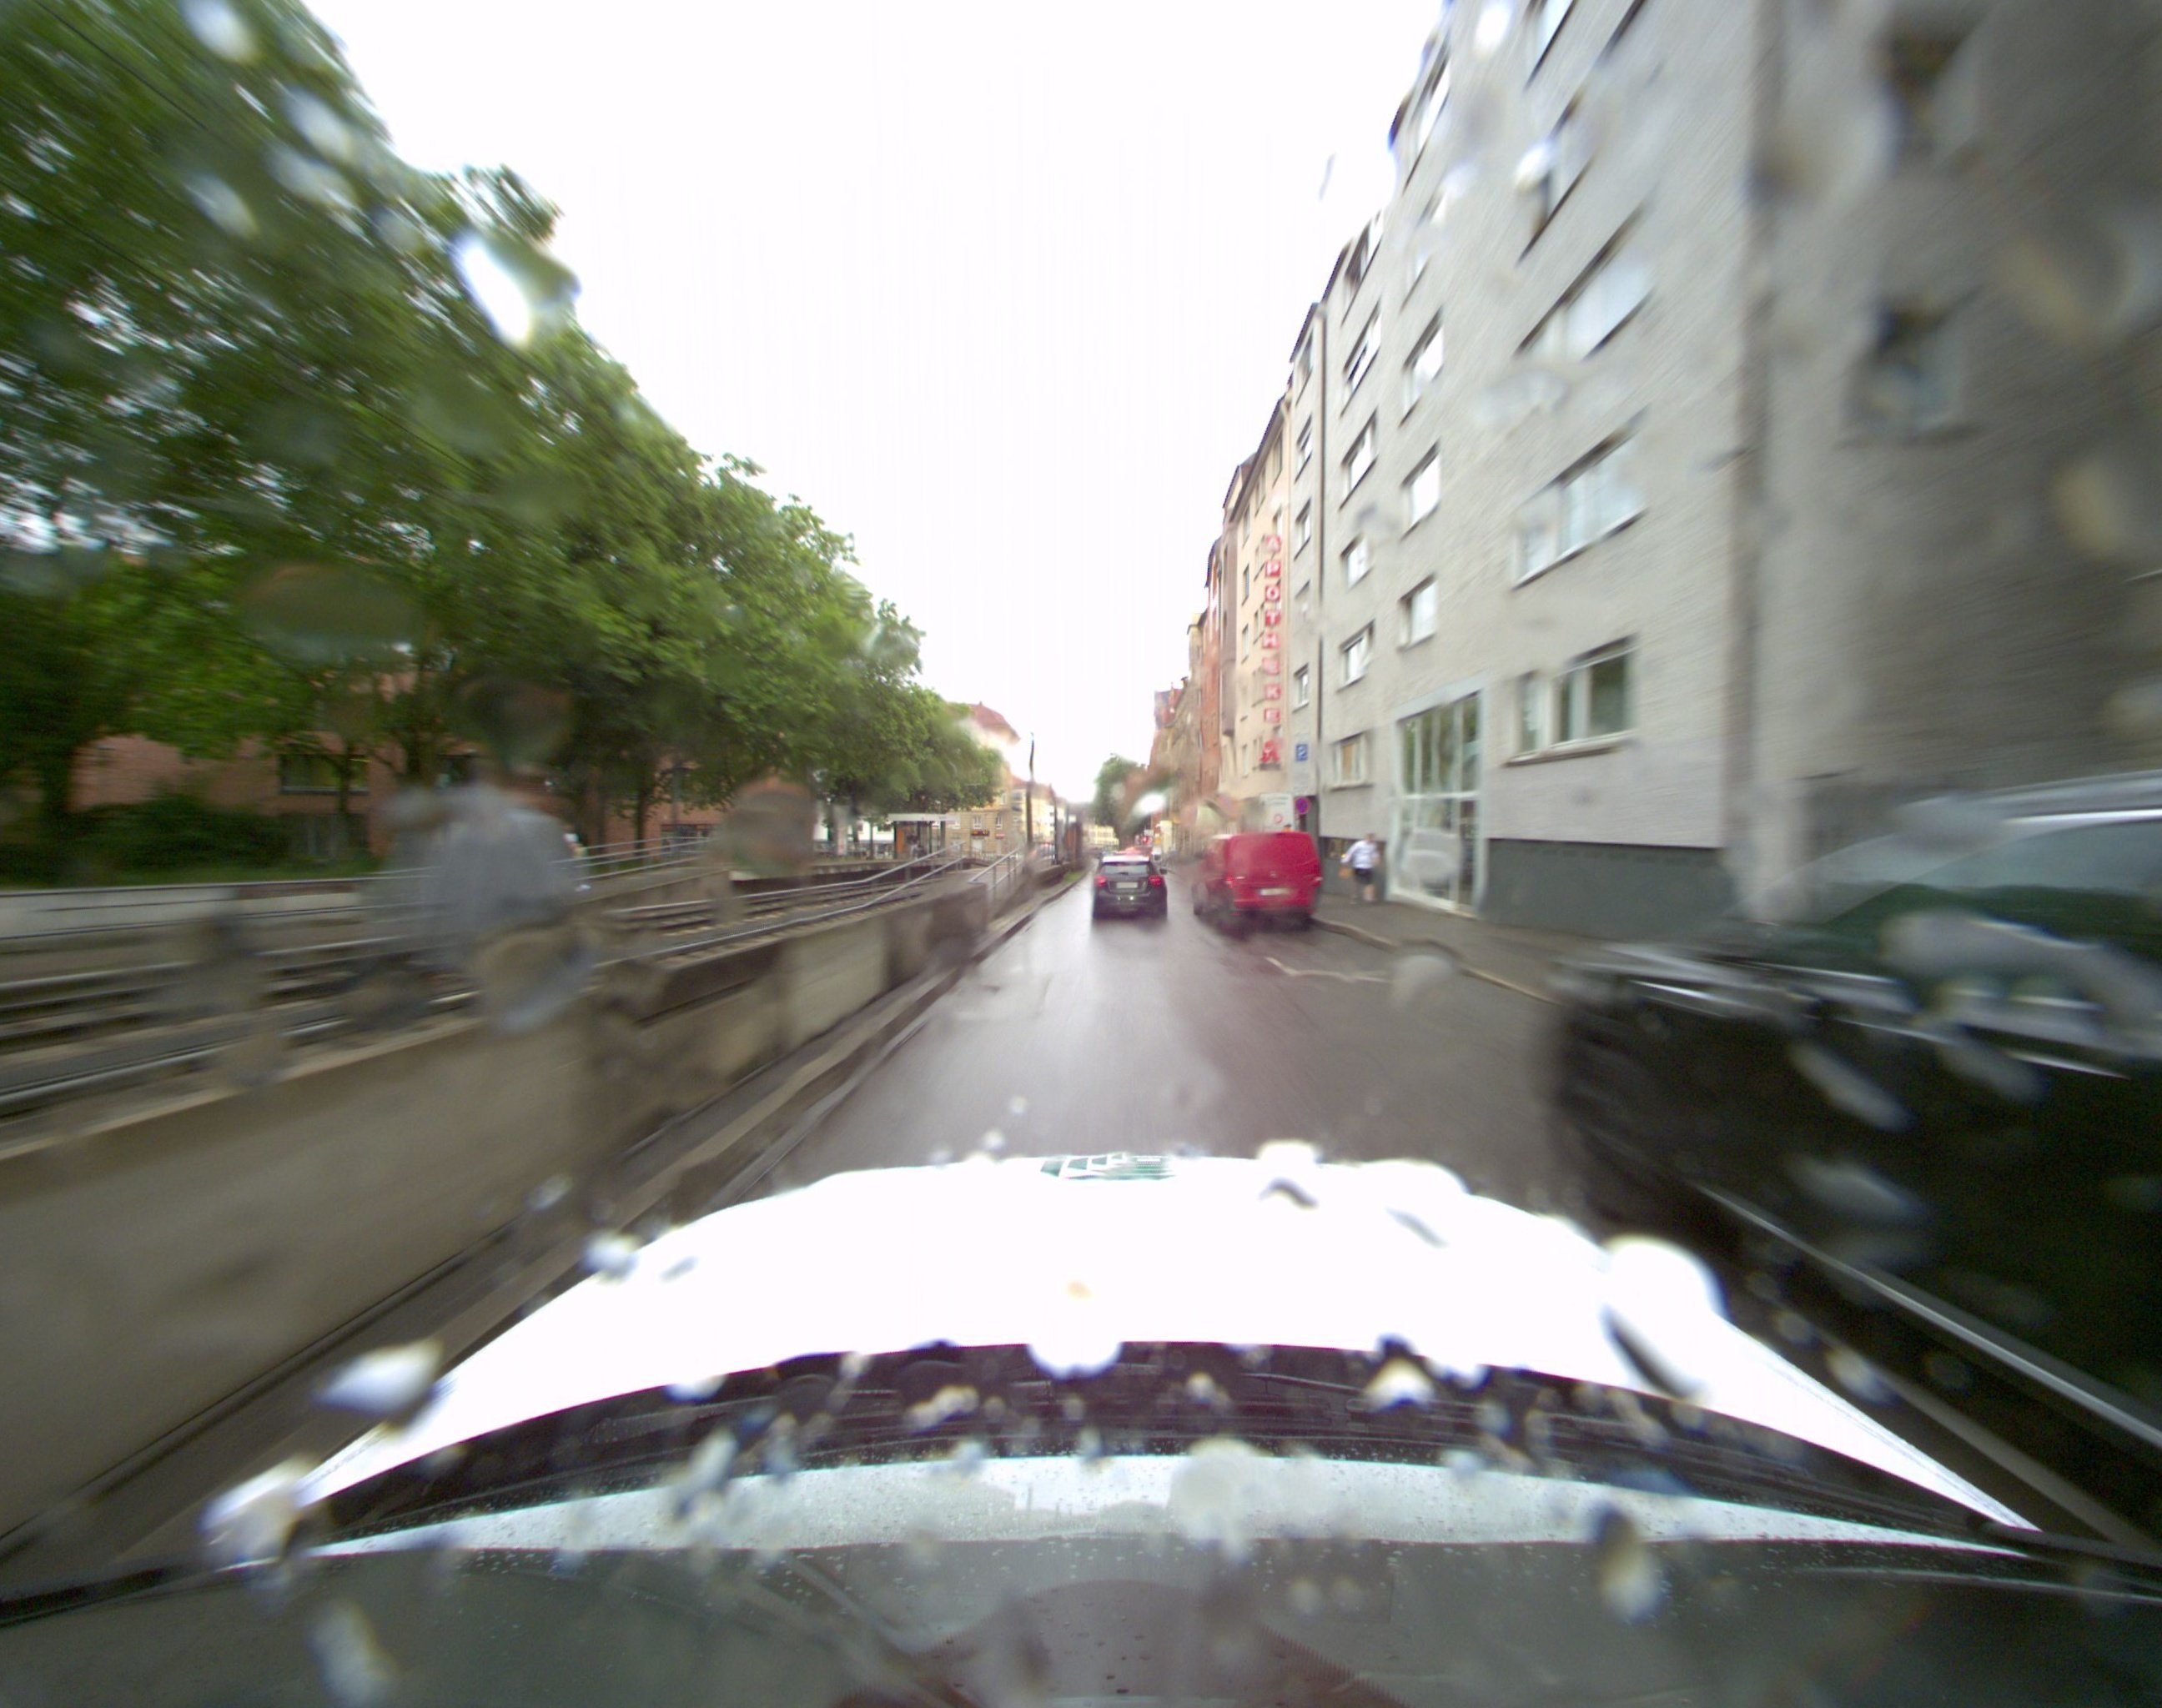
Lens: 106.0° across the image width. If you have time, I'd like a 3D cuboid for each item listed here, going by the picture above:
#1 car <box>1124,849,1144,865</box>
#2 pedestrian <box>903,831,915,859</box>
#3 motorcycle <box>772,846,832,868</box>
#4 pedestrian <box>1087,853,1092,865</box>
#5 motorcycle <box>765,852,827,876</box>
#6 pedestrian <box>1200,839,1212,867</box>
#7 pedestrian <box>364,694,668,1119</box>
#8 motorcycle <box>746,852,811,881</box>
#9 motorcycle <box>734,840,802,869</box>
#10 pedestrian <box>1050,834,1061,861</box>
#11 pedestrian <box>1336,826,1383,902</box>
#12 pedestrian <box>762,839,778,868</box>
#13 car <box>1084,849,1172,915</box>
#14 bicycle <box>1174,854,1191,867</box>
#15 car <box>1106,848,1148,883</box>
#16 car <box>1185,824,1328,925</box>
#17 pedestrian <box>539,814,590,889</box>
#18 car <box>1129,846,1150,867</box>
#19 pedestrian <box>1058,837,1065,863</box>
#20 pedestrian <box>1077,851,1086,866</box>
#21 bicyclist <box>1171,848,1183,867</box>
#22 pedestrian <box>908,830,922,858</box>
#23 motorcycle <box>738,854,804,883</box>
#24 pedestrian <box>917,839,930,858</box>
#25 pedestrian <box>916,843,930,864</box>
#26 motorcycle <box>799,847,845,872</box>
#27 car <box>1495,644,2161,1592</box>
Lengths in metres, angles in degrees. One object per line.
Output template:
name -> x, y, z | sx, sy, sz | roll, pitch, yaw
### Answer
car -> 6.011, 0.319, 92.679 | 1.927, 1.831, 4.279 | 0, 0, -1
pedestrian -> -10.593, -0.556, 50.167 | 0.560, 1.715, 0.706 | 1, 0, 0
motorcycle -> -19.788, 0.233, 57.811 | 3.851, 1.488, 1.006 | 0, -1, 0
pedestrian -> 1.020, 0.592, 97.079 | 0.531, 1.530, 0.435 | 0, -1, -6
motorcycle -> -19.488, 0.691, 55.794 | 3.851, 1.605, 1.006 | 0, -1, 0
pedestrian -> 8.238, -0.056, 53.800 | 0.576, 1.830, 0.563 | -3, -2, -1
pedestrian -> -2.603, 0.221, 3.856 | 0.856, 1.799, 0.787 | 0, 0, 1
motorcycle -> -19.903, 0.810, 53.582 | 3.851, 1.816, 1.006 | 0, -1, 0
motorcycle -> -19.538, 0.050, 50.938 | 3.851, 1.774, 1.006 | 0, -1, 0
pedestrian -> -1.508, -0.391, 48.489 | 0.492, 1.605, 0.640 | 0, -1, 18
pedestrian -> 6.645, 0.235, 19.445 | 0.848, 1.757, 0.838 | 1, 0, 2
pedestrian -> -22.366, -0.024, 58.531 | 0.729, 2.014, 0.981 | 0, -1, 3
car -> 1.122, 0.601, 19.649 | 1.887, 1.390, 4.003 | -1, 1, 3
bicycle -> 8.774, 0.567, 70.526 | 1.698, 1.115, 0.459 | 0, -1, -41
car -> 2.017, 0.489, 36.383 | 1.674, 1.489, 3.612 | -1, 0, 0
car -> 3.541, 0.401, 17.475 | 1.968, 1.838, 5.245 | 0, -1, 0
pedestrian -> -11.673, -0.070, 18.428 | 0.655, 1.662, 0.688 | 1, 3, 2
car -> 5.520, 0.291, 77.302 | 1.913, 1.936, 4.689 | 0, -1, 3
pedestrian -> -1.201, -0.260, 50.590 | 0.408, 1.605, 0.450 | 0, -1, -4
pedestrian -> 0.067, 0.535, 97.143 | 0.745, 1.724, 0.732 | 1, -1, -41
bicyclist -> 8.364, 0.291, 70.823 | 0.855, 1.657, 0.624 | 0, -1, -41
pedestrian -> -9.877, -0.597, 48.569 | 0.684, 1.641, 0.564 | 1, 0, 0
motorcycle -> -19.944, 0.918, 52.433 | 3.851, 1.816, 1.006 | 0, -1, 0
pedestrian -> -10.380, -0.345, 53.756 | 0.701, 1.240, 0.564 | 1, 0, 0
pedestrian -> -10.262, -0.039, 53.009 | 0.775, 1.362, 0.564 | 1, 0, 0
motorcycle -> -19.284, 0.417, 60.709 | 3.026, 1.816, 0.993 | 0, -1, 0
car -> 2.845, 0.472, 1.816 | 1.758, 1.708, 4.502 | 0, 0, 3
